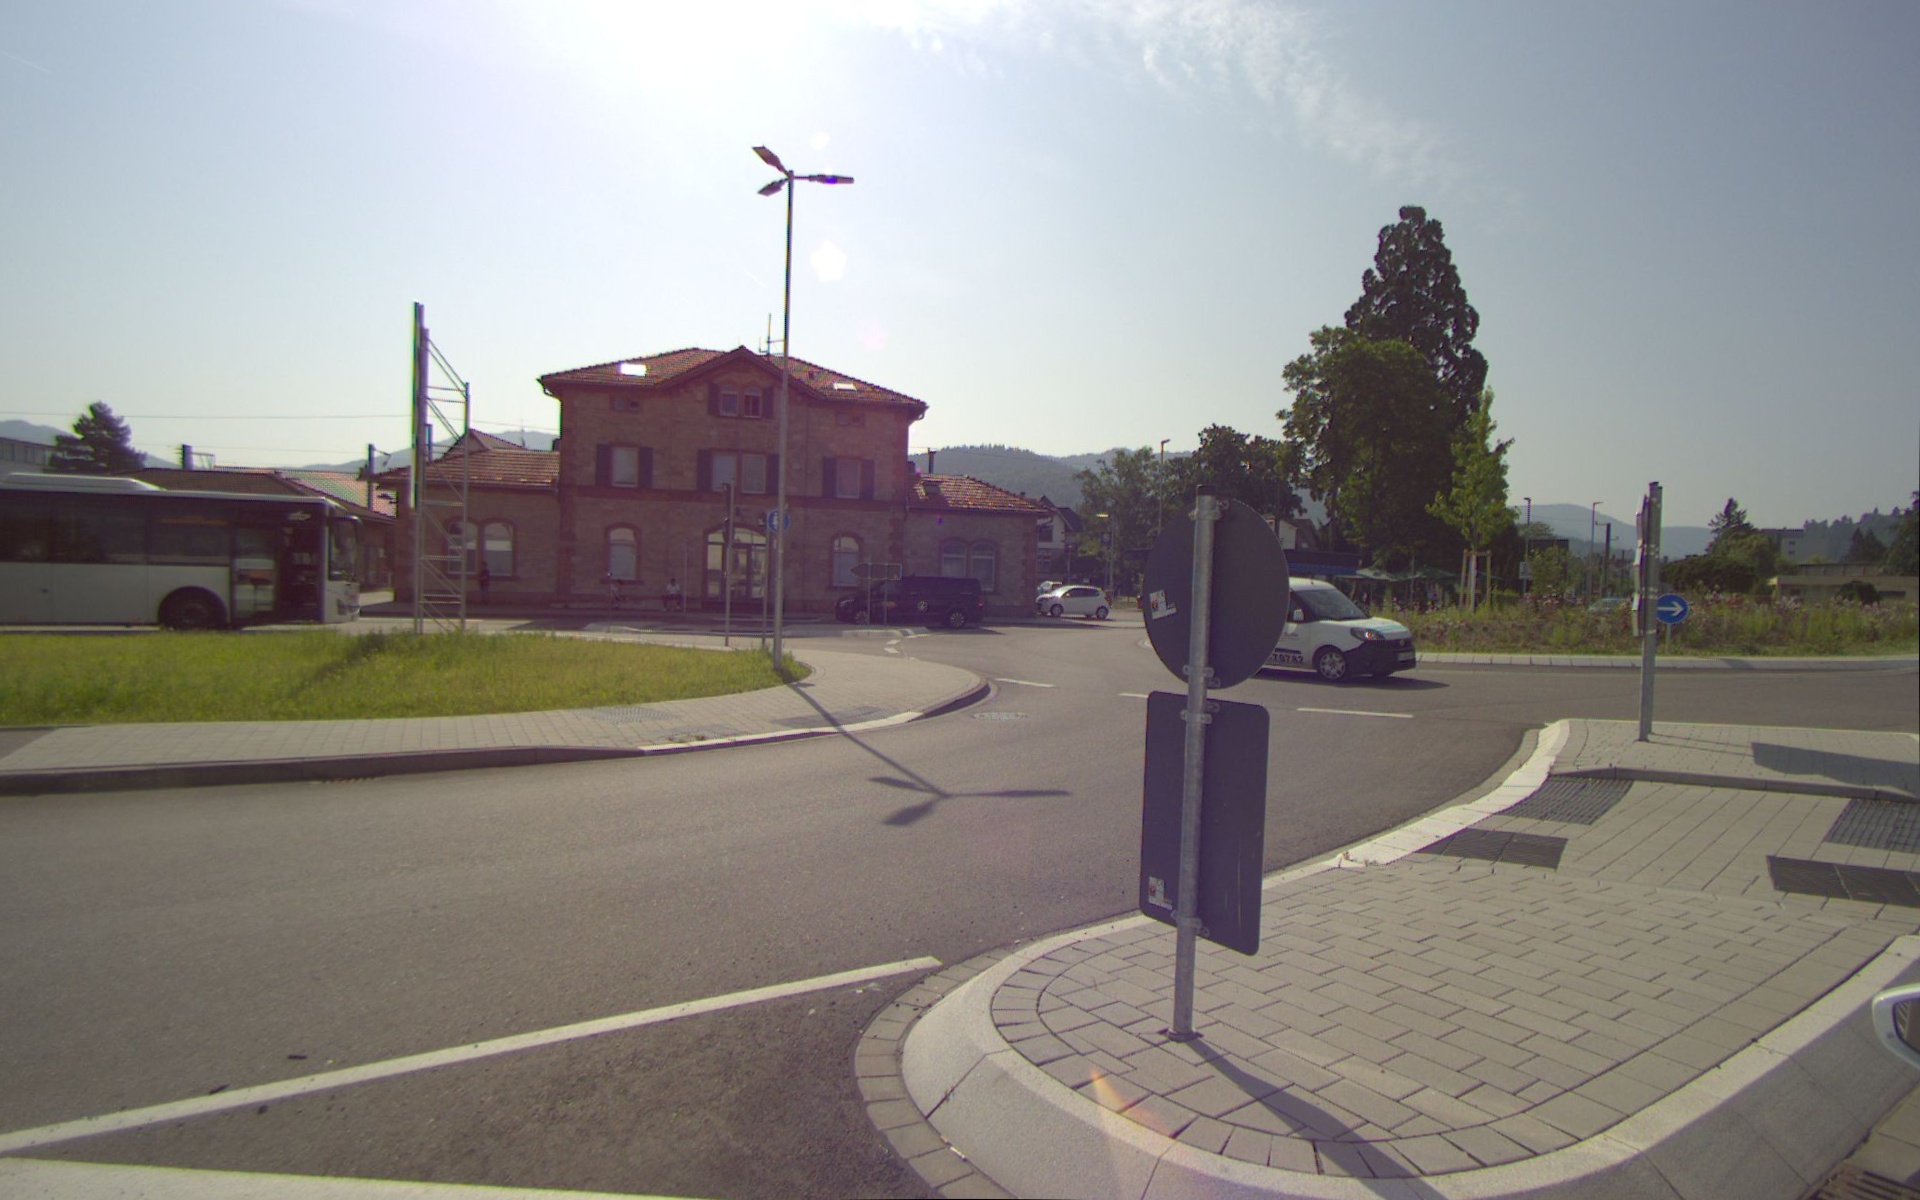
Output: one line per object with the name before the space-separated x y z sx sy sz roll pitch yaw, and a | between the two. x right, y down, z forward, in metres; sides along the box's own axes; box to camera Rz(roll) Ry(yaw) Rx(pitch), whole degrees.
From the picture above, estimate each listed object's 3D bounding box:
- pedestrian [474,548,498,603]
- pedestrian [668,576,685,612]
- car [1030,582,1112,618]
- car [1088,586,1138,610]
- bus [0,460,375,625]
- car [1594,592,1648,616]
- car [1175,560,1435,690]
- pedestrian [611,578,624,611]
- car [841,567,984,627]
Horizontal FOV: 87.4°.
pedestrian | -17.916 -0.906 37.978 0.566 2.040 0.530 2 0 2
pedestrian | -10.871 -0.217 38.536 0.543 1.367 0.565 2 0 -13
car | 5.185 0.001 46.808 3.482 1.469 1.387 3 1 -18
car | 9.272 -0.121 60.982 1.395 1.344 3.577 1 1 -21
bus | -19.029 -1.156 20.875 11.557 3.165 3.056 1 1 -24
car | 34.306 0.215 52.117 3.215 1.188 1.377 0 1 -39
car | 6.338 0.318 19.020 1.792 2.106 4.563 -3 4 -32
pedestrian | -13.037 -0.219 38.229 0.436 1.220 0.582 2 0 -16
car | -1.728 -0.089 35.936 4.800 1.972 1.840 2 0 -15
